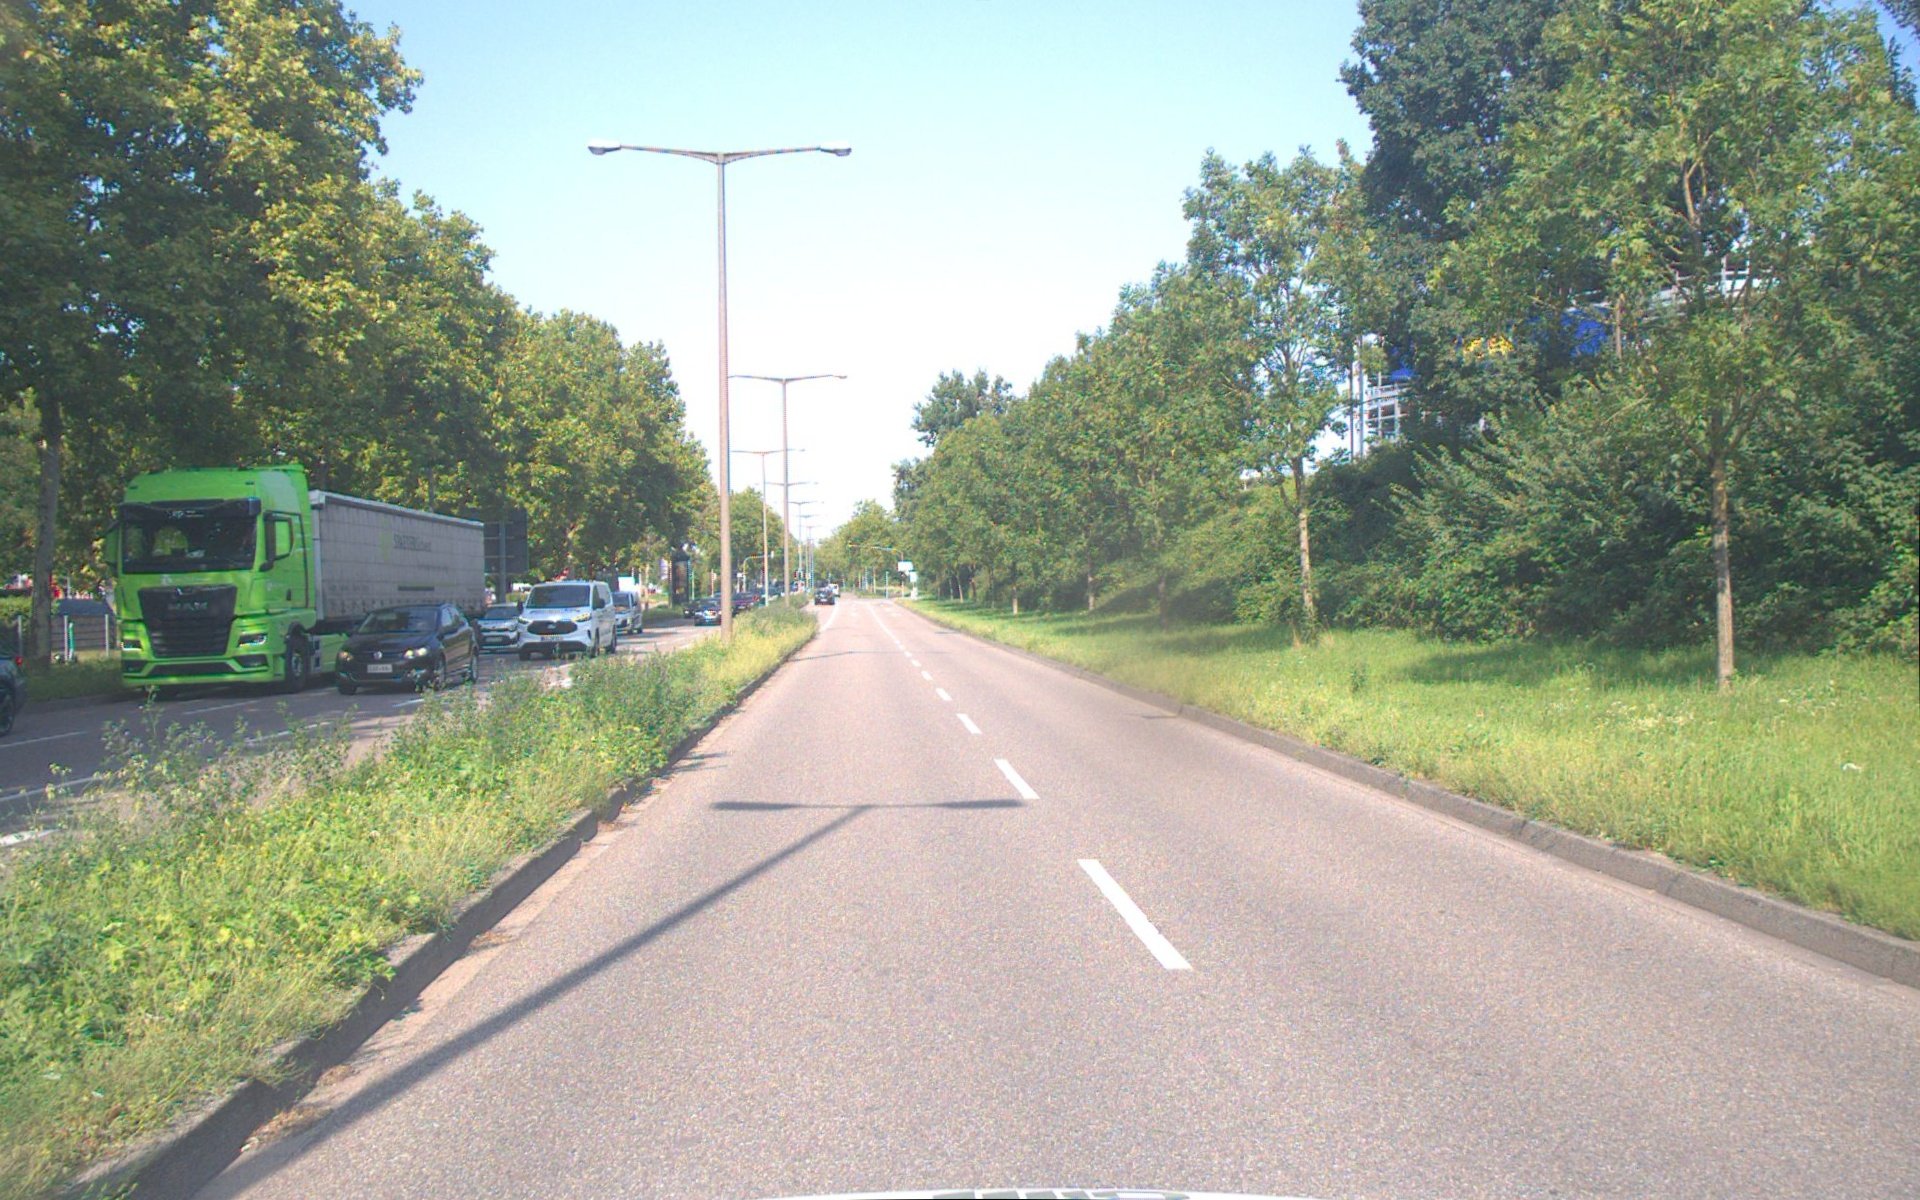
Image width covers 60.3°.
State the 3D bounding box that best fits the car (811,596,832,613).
[{"bbox_3d":[-13.095,0.402,156.643,1.657,1.512,3.999,-1,0,-1],"label":"car"}]

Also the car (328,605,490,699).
[{"bbox_3d":[-9.323,0.837,28.270,1.582,1.423,3.855,-3,0,-3],"label":"car"}]

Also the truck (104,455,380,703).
[{"bbox_3d":[-12.613,-0.336,29.625,2.556,3.886,5.886,-2,0,-4],"label":"truck"}]

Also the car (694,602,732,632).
[{"bbox_3d":[-13.367,0.930,89.706,1.712,1.505,4.581,-3,0,-5],"label":"car"}]

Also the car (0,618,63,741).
[{"bbox_3d":[-12.039,0.970,18.648,1.615,1.435,4.476,-2,0,-4],"label":"car"}]

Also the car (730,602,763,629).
[{"bbox_3d":[-14.501,1.047,112.402,1.915,1.754,4.583,-1,0,-4],"label":"car"}]

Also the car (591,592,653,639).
[{"bbox_3d":[-15.001,0.673,73.536,1.945,1.891,4.965,-3,0,-4],"label":"car"}]

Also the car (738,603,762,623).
[{"bbox_3d":[-19.726,1.209,155.453,1.954,1.790,4.474,-3,0,-4],"label":"car"}]

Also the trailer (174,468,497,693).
[{"bbox_3d":[-13.070,-0.331,36.397,2.581,3.888,13.800,-2,0,-4],"label":"trailer"}]

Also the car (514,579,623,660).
[{"bbox_3d":[-10.212,0.478,43.501,1.954,1.988,5.032,-1,0,-4],"label":"car"}]
